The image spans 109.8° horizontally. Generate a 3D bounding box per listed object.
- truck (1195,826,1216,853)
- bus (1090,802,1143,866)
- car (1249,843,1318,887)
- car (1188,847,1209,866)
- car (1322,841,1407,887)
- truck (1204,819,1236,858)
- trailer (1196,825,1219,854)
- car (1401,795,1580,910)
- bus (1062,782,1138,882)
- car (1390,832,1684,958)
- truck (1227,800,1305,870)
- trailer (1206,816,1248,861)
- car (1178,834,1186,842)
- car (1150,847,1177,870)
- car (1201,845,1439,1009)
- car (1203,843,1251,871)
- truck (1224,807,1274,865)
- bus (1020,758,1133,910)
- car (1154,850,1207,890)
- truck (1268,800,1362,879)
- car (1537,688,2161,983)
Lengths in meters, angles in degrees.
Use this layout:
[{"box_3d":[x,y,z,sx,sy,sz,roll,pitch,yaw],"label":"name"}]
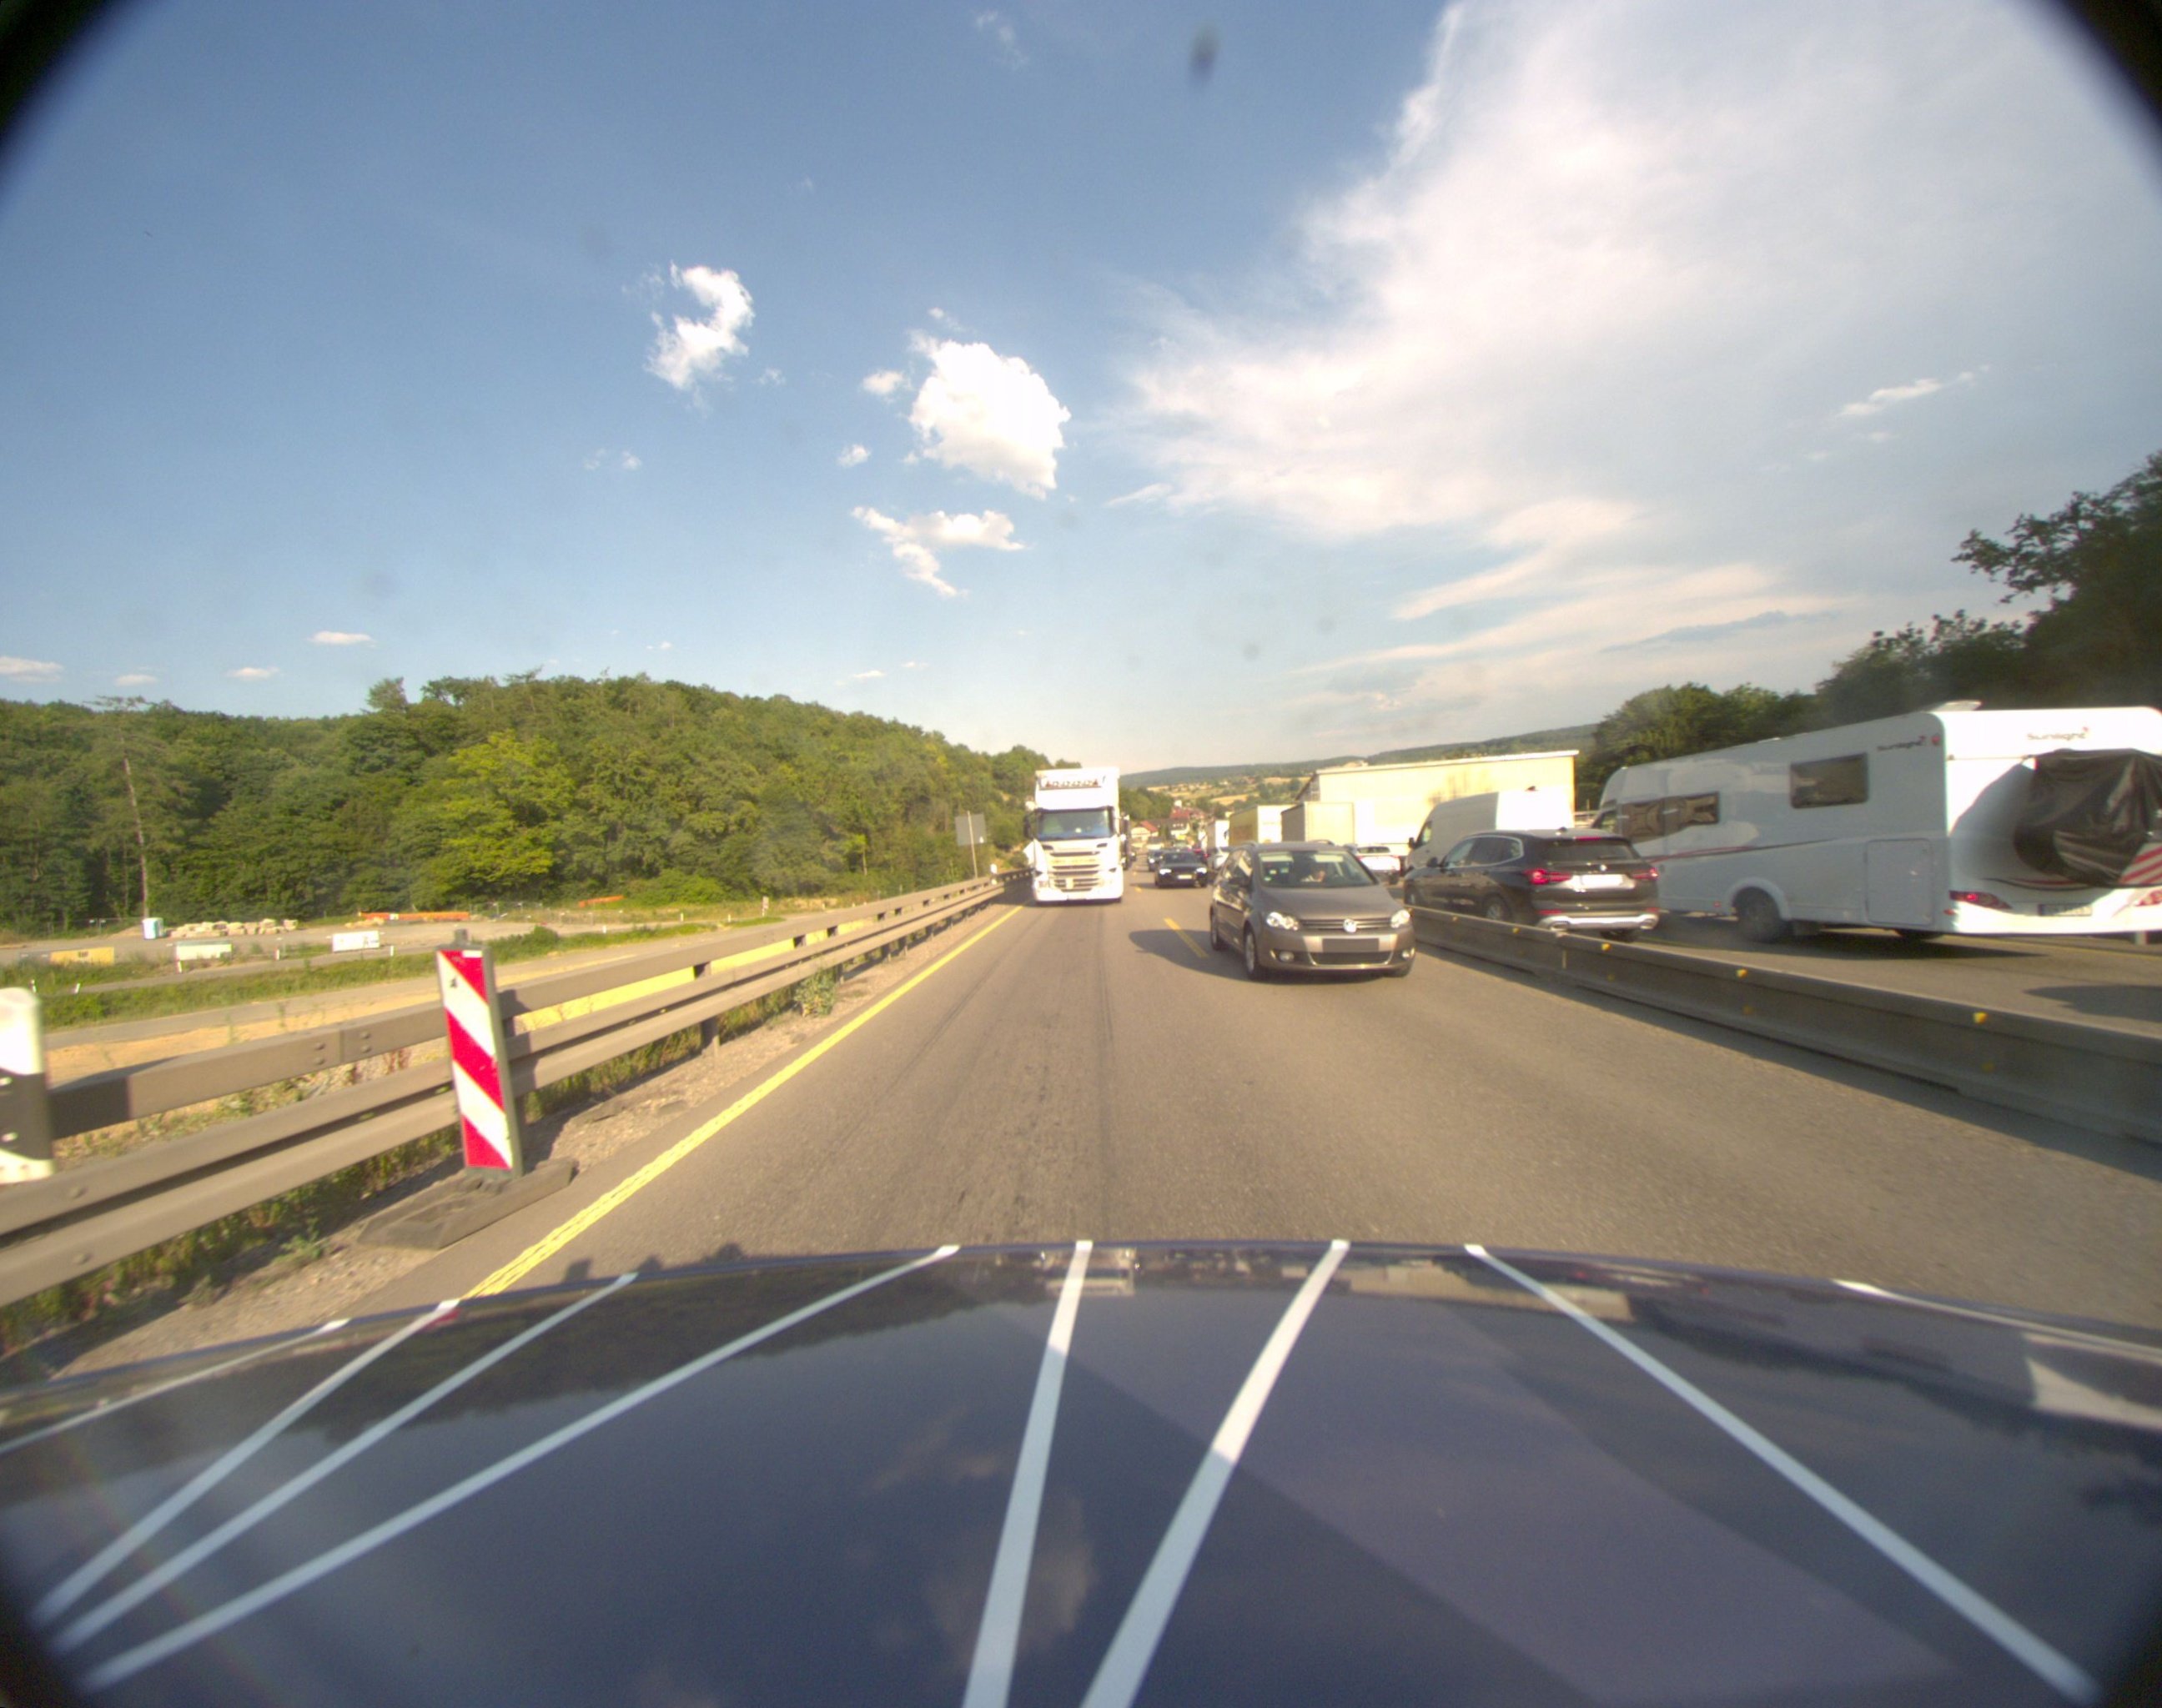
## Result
[{"box_3d":[18.194,-2.106,111.247,2.604,3.865,6.205,-1,1,7],"label":"truck"},{"box_3d":[2.991,-1.474,59.826,2.983,4.553,10.909,-1,0,9],"label":"bus"},{"box_3d":[7.729,0.404,29.352,1.786,1.513,4.001,-3,0,4],"label":"car"},{"box_3d":[10.389,0.174,67.242,1.657,1.514,4.289,-2,1,7],"label":"car"},{"box_3d":[10.355,0.313,28.056,1.767,1.514,4.002,-2,1,3],"label":"car"},{"box_3d":[14.985,-1.650,82.082,2.850,4.013,6.102,-1,1,6],"label":"truck"},{"box_3d":[17.608,-2.021,106.355,2.602,3.858,10.580,-1,1,7],"label":"trailer"},{"box_3d":[10.636,-0.087,20.376,1.961,2.606,5.748,-1,1,3],"label":"car"},{"box_3d":[1.258,-1.066,40.262,2.983,4.553,9.972,-1,0,7],"label":"bus"},{"box_3d":[6.671,0.535,11.891,1.821,1.569,4.755,0,0,1],"label":"car"},{"box_3d":[12.191,-1.226,51.482,2.713,4.065,14.155,-1,1,4],"label":"truck"},{"box_3d":[14.375,-1.532,75.965,2.863,4.013,13.974,-1,1,6],"label":"trailer"},{"box_3d":[27.743,-4.466,208.908,1.821,1.988,4.755,0,0,1],"label":"car"},{"box_3d":[5.555,0.290,51.080,1.697,1.390,4.002,-3,0,7],"label":"car"},{"box_3d":[2.704,0.699,9.595,1.688,1.565,4.099,-2,1,0],"label":"car"},{"box_3d":[8.363,0.188,43.970,2.063,1.478,4.728,1,0,3],"label":"car"},{"box_3d":[12.588,-1.328,57.399,2.719,4.065,6.101,-1,1,4],"label":"truck"},{"box_3d":[0.256,-0.653,26.242,2.634,4.077,11.316,-1,1,6],"label":"bus"},{"box_3d":[3.907,0.600,30.277,1.866,1.391,4.000,-1,1,5],"label":"car"},{"box_3d":[11.283,-0.673,37.396,2.453,3.443,7.617,-2,1,2],"label":"truck"},{"box_3d":[10.227,-0.254,11.349,2.340,2.901,7.631,-1,1,1],"label":"car"}]
